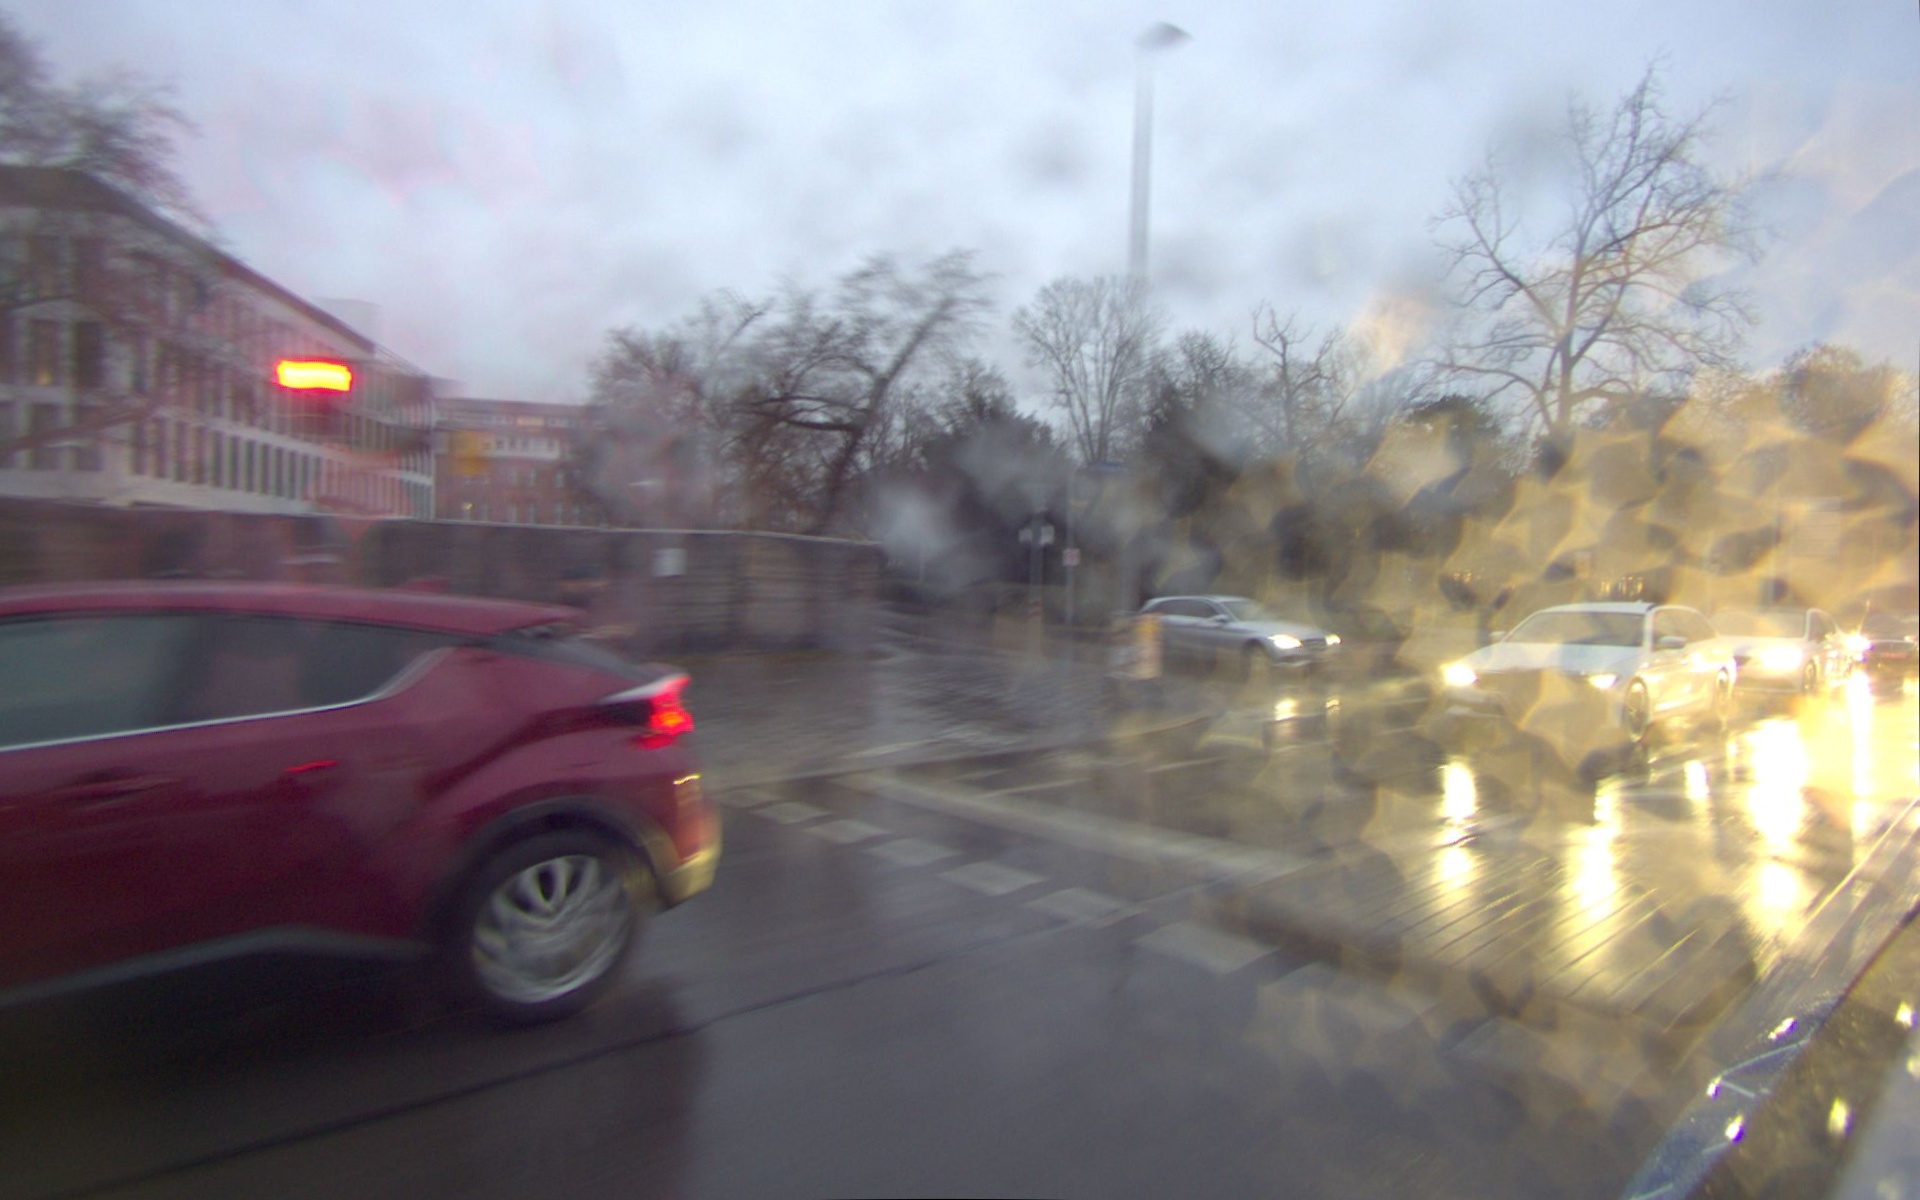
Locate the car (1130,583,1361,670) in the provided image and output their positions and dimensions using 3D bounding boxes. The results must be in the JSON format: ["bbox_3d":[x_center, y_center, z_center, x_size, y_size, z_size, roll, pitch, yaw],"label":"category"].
[{"bbox_3d":[5.696,0.449,20.801,1.845,1.507,4.522,0,1,-31],"label":"car"}]

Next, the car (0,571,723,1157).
[{"bbox_3d":[-2.969,0.676,3.294,3.927,1.498,1.726,-1,0,-38],"label":"car"}]

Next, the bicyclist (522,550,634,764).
[{"bbox_3d":[-3.165,0.446,8.446,0.683,1.700,0.819,1,1,-6],"label":"bicyclist"}]

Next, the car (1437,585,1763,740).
[{"bbox_3d":[7.848,0.601,12.211,4.876,1.520,1.791,0,1,-38],"label":"car"}]

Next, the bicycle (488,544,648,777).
[{"bbox_3d":[-3.189,0.428,8.468,0.676,1.678,2.250,-1,0,-6],"label":"bicycle"}]

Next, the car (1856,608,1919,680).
[{"bbox_3d":[23.296,1.026,24.555,4.007,1.517,1.879,-1,2,-42],"label":"car"}]

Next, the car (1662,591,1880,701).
[{"bbox_3d":[12.975,0.633,16.131,3.966,1.479,1.779,-1,2,-37],"label":"car"}]
